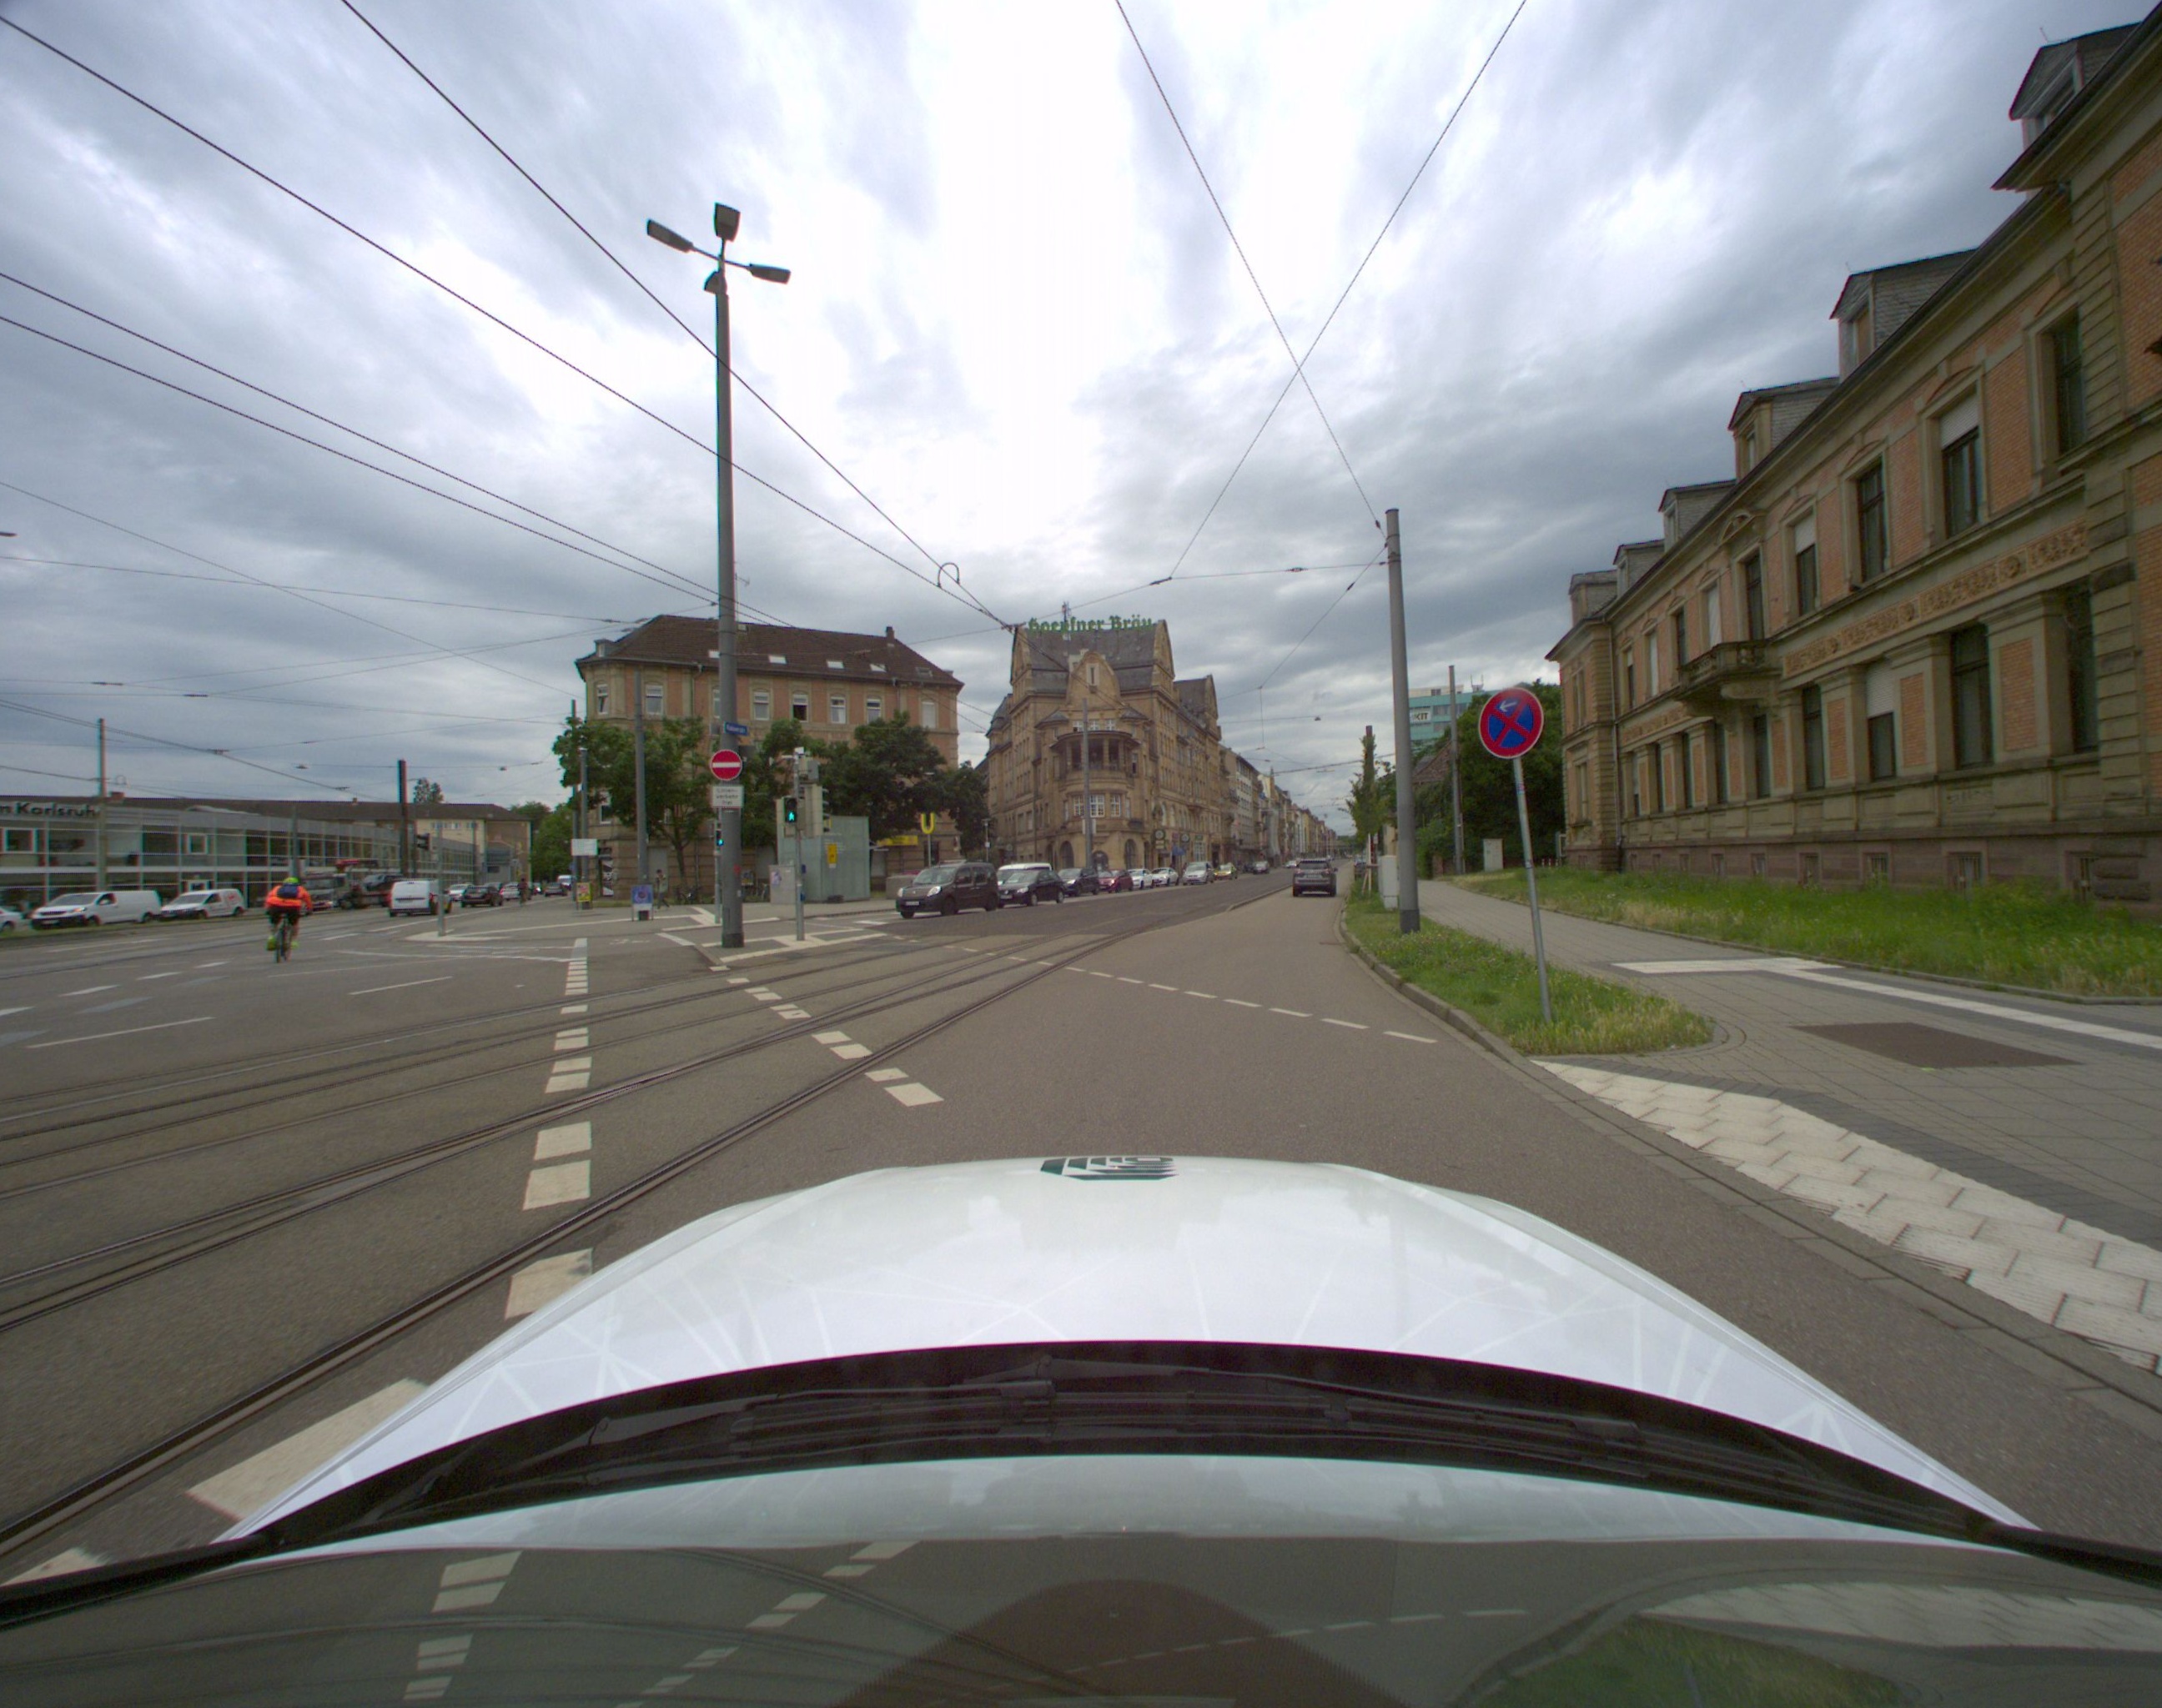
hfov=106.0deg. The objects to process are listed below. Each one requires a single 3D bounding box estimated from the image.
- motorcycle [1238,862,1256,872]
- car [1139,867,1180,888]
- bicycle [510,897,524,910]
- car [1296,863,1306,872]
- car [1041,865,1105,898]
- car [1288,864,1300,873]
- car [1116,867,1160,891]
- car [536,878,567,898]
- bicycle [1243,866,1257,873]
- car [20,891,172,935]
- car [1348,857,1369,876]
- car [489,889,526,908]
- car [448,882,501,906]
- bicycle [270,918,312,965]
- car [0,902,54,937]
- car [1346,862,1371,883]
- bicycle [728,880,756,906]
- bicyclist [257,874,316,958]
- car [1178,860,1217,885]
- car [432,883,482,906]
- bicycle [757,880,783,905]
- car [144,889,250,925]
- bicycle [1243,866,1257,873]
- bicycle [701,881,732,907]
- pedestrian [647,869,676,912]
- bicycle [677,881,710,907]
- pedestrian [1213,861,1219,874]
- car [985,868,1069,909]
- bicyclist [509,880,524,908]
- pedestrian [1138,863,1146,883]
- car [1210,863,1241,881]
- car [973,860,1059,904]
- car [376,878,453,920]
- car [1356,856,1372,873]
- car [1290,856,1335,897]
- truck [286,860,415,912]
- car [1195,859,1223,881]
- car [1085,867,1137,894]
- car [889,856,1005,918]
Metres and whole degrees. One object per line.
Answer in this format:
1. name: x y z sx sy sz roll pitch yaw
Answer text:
1. motorcycle: 23.275 1.812 114.413 2.342 1.303 0.878 -1 -1 -18
2. car: 5.858 1.696 60.268 1.910 1.380 4.280 -2 -1 22
3. bicycle: -35.800 3.128 51.684 0.624 0.793 1.573 -1 -1 -38
4. car: 46.876 2.891 173.420 1.745 1.672 4.636 -2 -1 19
5. car: -0.371 1.481 44.813 1.846 1.534 4.326 -4 -2 23
6. car: 40.228 2.732 153.904 1.745 1.449 4.636 -2 -1 19
7. car: 3.917 1.640 54.939 1.732 1.380 4.384 -5 -2 20
8. car: -56.020 3.591 86.203 2.001 2.014 3.970 0 -2 -22
9. bicycle: 24.334 2.206 117.126 1.953 1.001 0.464 -2 -1 11
10. car: -48.922 2.853 40.676 2.162 1.856 5.415 -2 -1 -17
11. car: 26.546 1.186 78.051 1.741 1.574 3.949 -5 -2 18
12. car: -48.642 3.738 69.139 1.861 1.508 3.968 0 -2 -24
13. car: -39.901 2.573 53.670 2.003 1.420 3.967 -2 -1 -25
14. bicycle: -16.364 1.786 16.859 2.047 0.848 0.561 -3 -1 44
15. car: -47.060 2.877 34.551 1.998 1.420 4.722 -2 -1 -17
16. car: 21.078 1.367 61.933 1.624 1.434 3.949 -5 -2 18
17. bicycle: -18.977 2.173 45.684 0.959 1.354 3.106 -1 -2 -13
18. bicyclist: -16.435 1.253 16.838 1.305 1.621 0.834 -3 -2 44
19. car: 8.795 1.372 61.011 1.847 1.706 4.933 -3 -1 20
20. car: -56.363 3.638 73.664 1.997 1.839 4.500 -2 -1 -15
21. bicycle: -17.756 2.171 46.529 0.959 1.354 3.106 -1 -2 -13
22. car: -50.858 3.011 46.995 1.997 1.839 4.500 -2 -1 -15
23. bicycle: 24.165 2.186 116.499 1.909 1.001 0.464 -2 -1 11
24. bicycle: -20.207 2.186 45.219 0.959 1.354 3.106 -1 -2 -13
25. pedestrian: -17.375 1.507 33.736 0.595 1.728 0.918 -3 -1 44
26. bicycle: -21.304 2.198 44.822 0.959 1.354 3.106 -1 -2 -13
27. pedestrian: 16.919 1.652 101.928 0.563 1.598 0.722 -2 -1 18
28. car: -2.082 1.337 32.429 1.674 1.442 4.021 -2 -1 23
29. bicyclist: -35.800 2.521 51.662 0.693 1.708 0.789 -1 -1 -38
30. pedestrian: 5.234 1.657 69.955 0.627 1.719 0.533 -2 -1 4
31. car: 13.589 1.632 76.550 1.882 1.511 4.452 -4 -1 22
32. car: -3.021 1.288 38.995 1.846 1.916 5.129 -2 -1 23
33. car: -33.885 2.236 41.548 1.920 1.940 4.099 -1 -1 -23
34. car: 37.449 1.403 107.816 1.836 2.115 5.008 -5 -2 18
35. car: 10.611 0.990 37.110 1.735 1.756 3.942 0 0 19
36. truck: -53.996 2.365 60.608 2.795 3.550 9.186 -1 -2 -11
37. car: 12.794 1.582 81.129 1.883 1.977 5.121 -5 -2 18
38. car: 1.877 1.584 49.748 1.846 1.399 3.916 -4 -2 22
39. car: -4.360 1.044 27.267 1.674 1.900 4.410 -2 -1 23
